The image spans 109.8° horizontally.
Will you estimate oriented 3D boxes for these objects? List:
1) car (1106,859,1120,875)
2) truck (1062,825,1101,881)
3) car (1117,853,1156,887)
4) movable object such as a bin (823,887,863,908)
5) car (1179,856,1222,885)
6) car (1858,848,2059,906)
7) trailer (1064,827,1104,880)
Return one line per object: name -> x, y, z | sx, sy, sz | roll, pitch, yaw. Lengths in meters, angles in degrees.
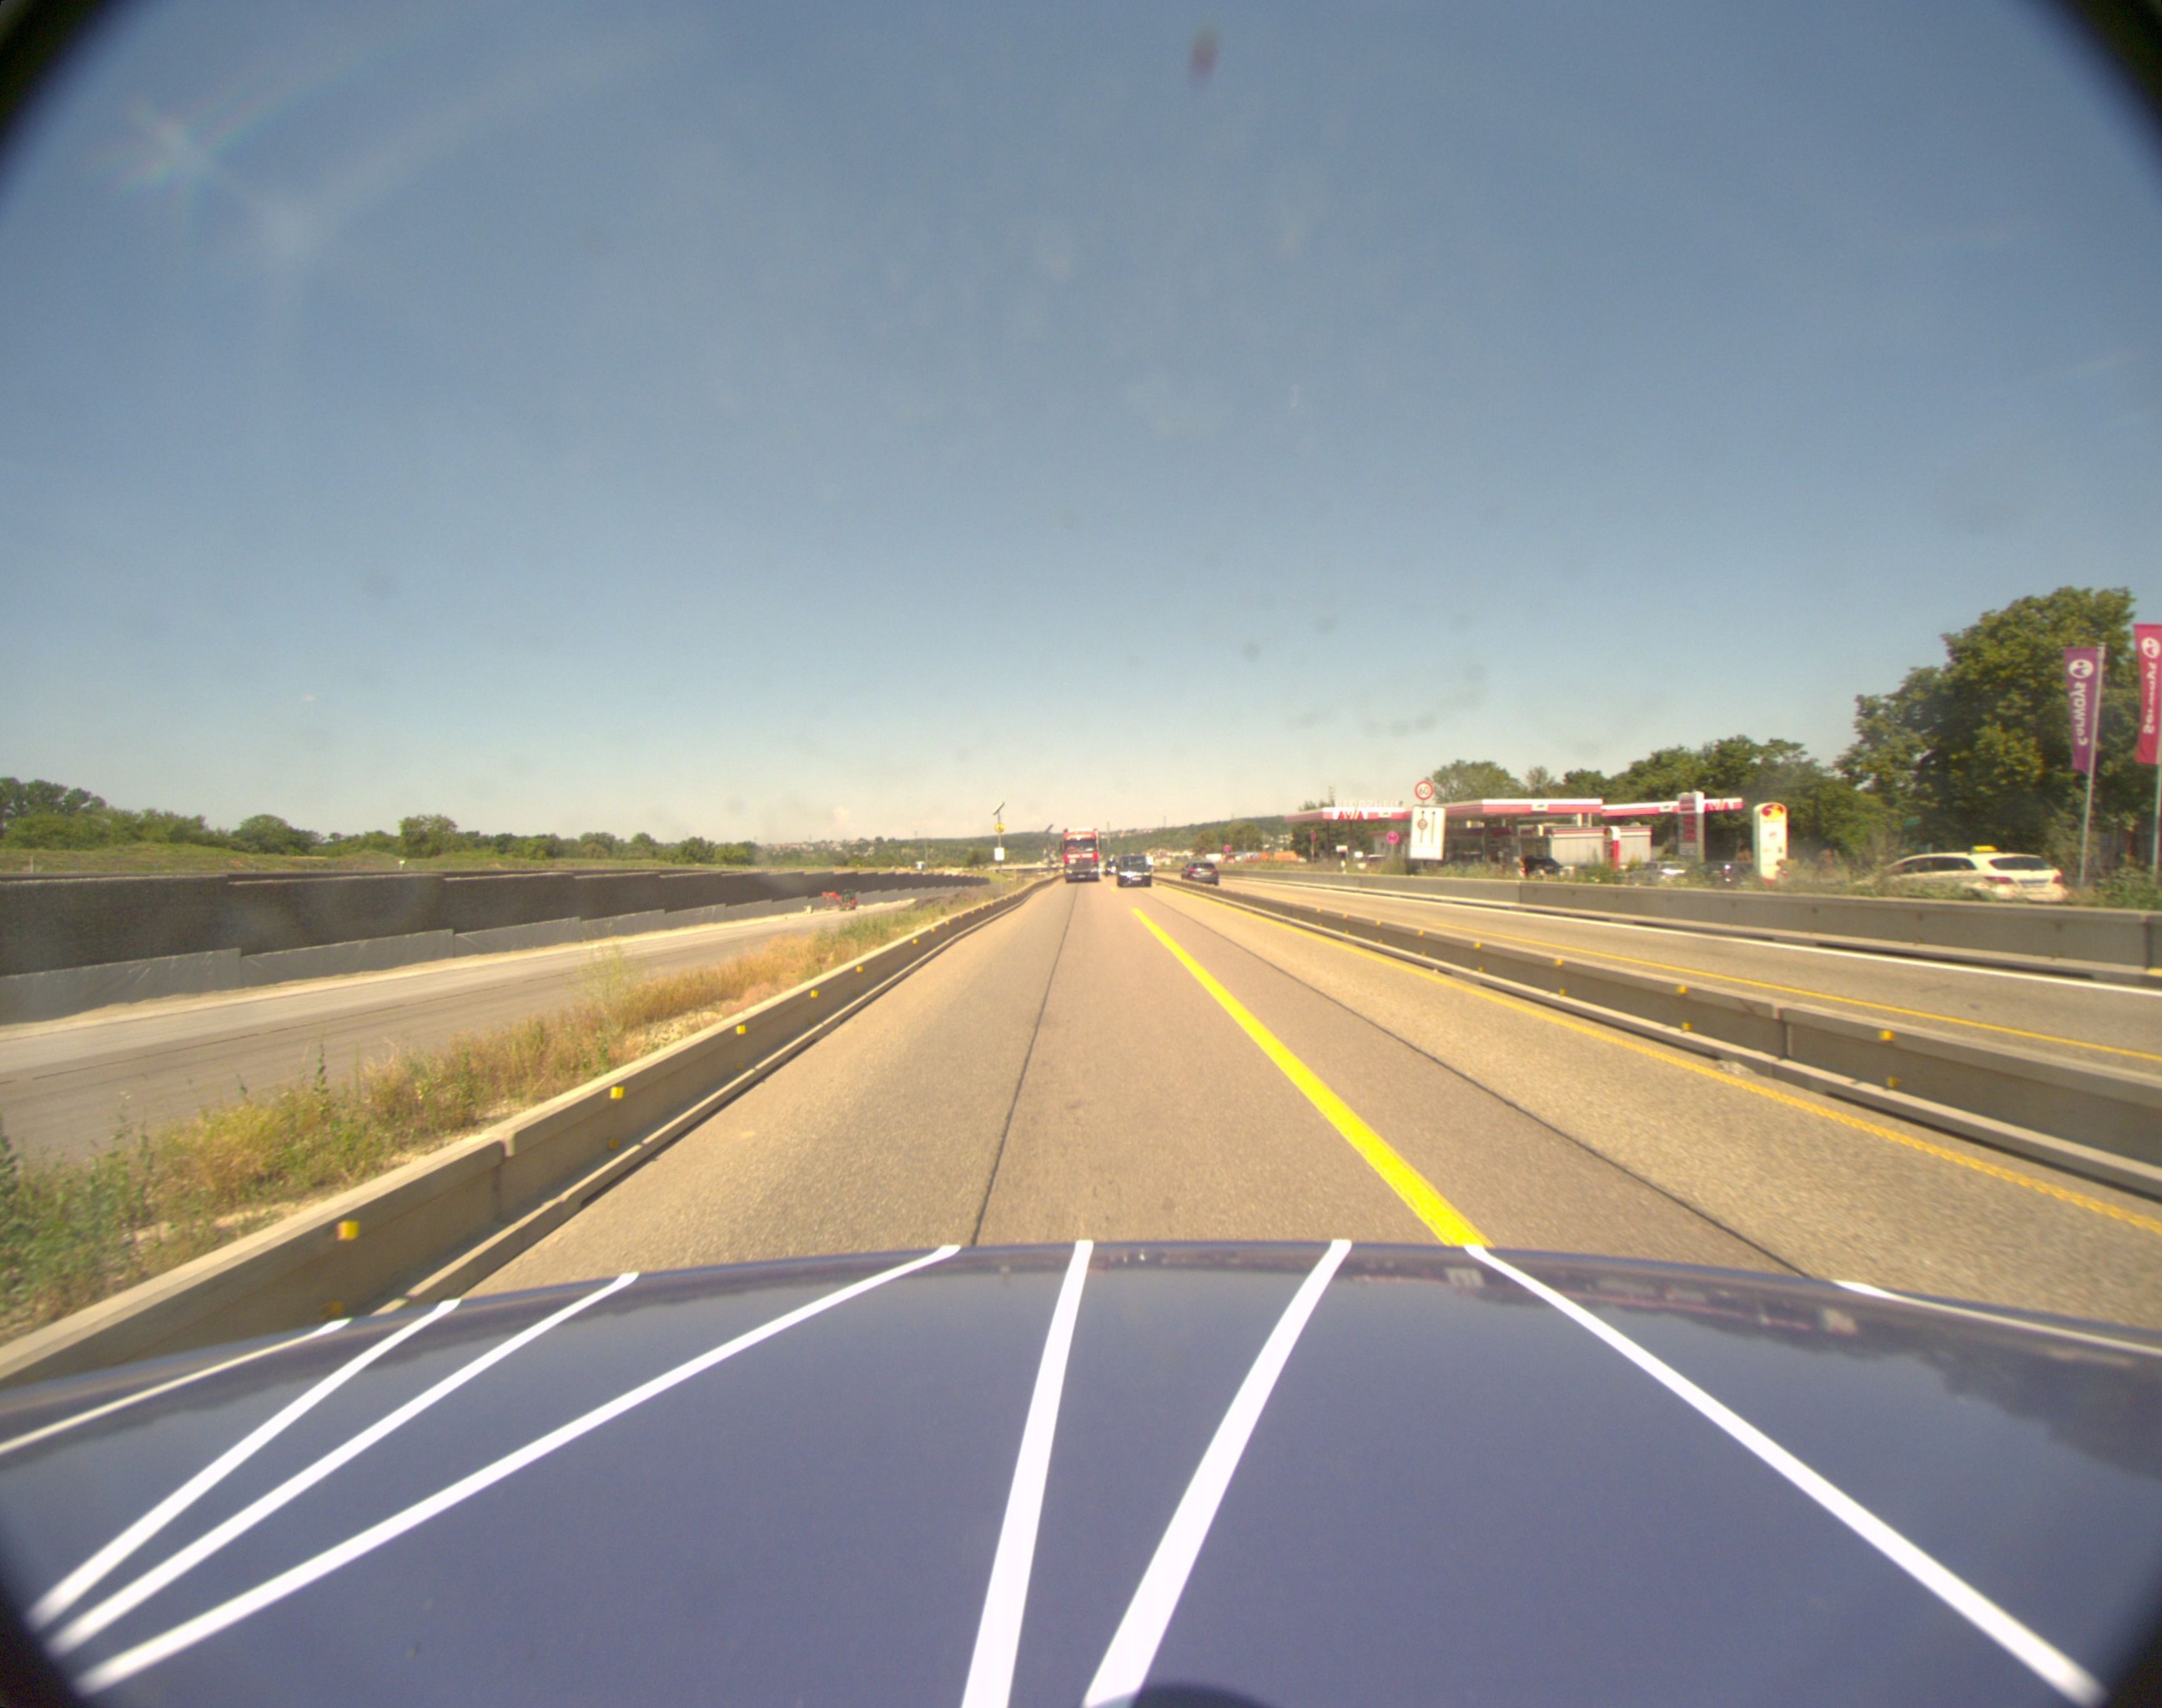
car -> 3.435, 1.380, 81.607 | 1.427, 1.477, 3.414 | -2, 1, 1
truck -> 0.100, -0.110, 56.595 | 2.626, 3.881, 4.934 | -2, 1, 2
car -> 3.093, 0.832, 43.171 | 1.926, 1.779, 4.603 | -1, 0, 1
movable object such as a bin -> -27.600, 5.028, 88.193 | 4.139, 2.135, 1.759 | -3, 1, -27
car -> 6.712, 0.884, 43.105 | 1.799, 1.477, 4.000 | -2, 0, 1
car -> 23.230, 0.560, 20.307 | 1.455, 1.368, 3.407 | -2, 1, 1
trailer -> 0.441, -0.111, 63.136 | 2.701, 3.852, 12.423 | -2, 0, 2
